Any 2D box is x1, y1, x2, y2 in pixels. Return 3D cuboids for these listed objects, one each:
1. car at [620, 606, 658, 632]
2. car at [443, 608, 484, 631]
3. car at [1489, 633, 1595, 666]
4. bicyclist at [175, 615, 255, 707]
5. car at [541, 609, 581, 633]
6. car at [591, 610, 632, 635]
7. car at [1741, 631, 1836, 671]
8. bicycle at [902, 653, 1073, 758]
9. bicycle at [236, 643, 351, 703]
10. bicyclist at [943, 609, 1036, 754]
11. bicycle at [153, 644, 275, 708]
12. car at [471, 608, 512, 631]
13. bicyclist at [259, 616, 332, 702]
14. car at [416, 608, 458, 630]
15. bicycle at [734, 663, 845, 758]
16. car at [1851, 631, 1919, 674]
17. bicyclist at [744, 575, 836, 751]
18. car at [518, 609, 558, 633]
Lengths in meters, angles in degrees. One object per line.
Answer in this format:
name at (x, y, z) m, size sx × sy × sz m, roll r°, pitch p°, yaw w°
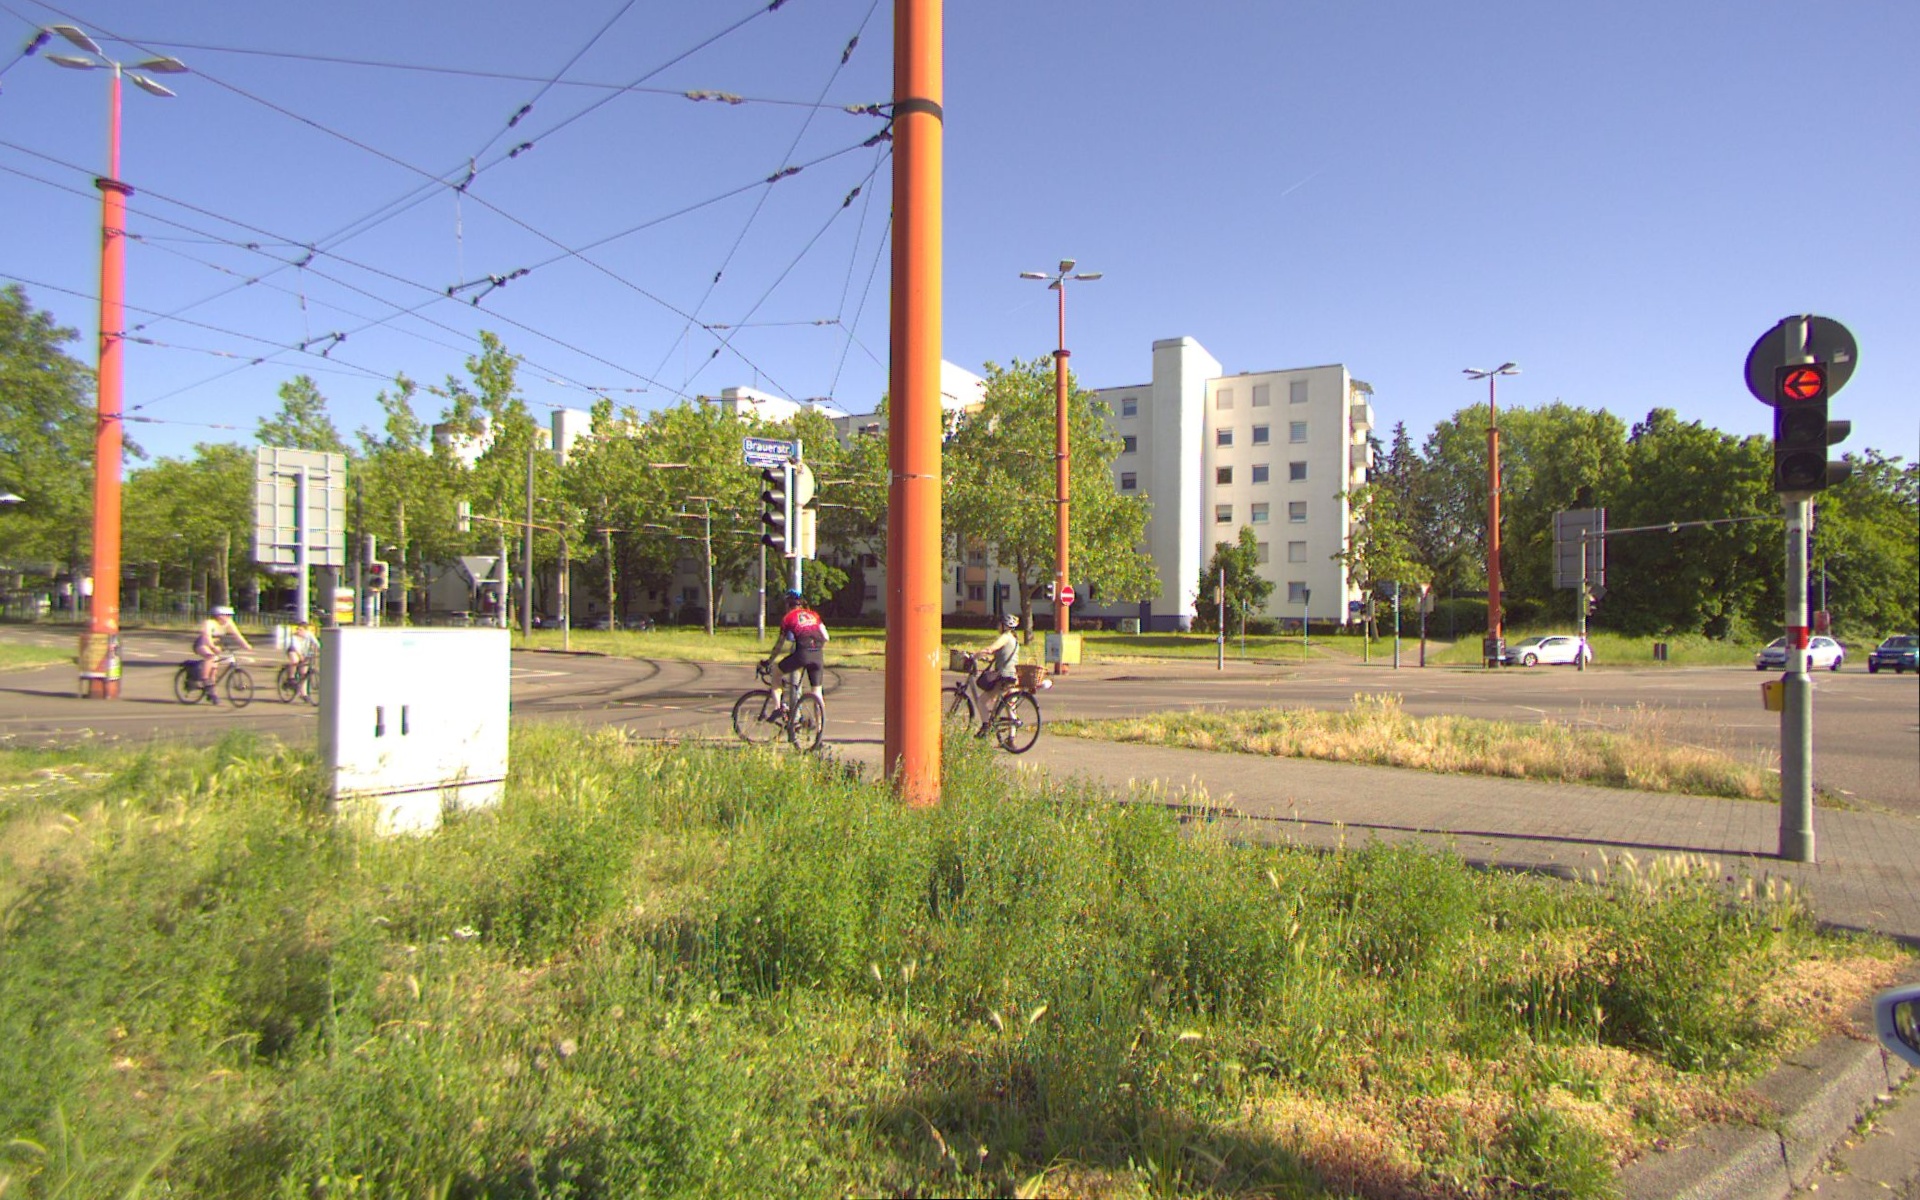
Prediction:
car at (-23.397, 1.387, 73.419) m, size 1.963 × 1.840 × 3.995 m, roll 1°, pitch -1°, yaw -8°
car at (-42.667, 1.684, 86.450) m, size 1.963 × 1.840 × 3.995 m, roll 1°, pitch -1°, yaw -8°
car at (27.290, 2.299, 47.166) m, size 4.145 × 1.471 × 1.796 m, roll 1°, pitch -1°, yaw -10°
bicyclist at (-13.996, 1.126, 18.899) m, size 0.726 × 1.659 × 0.934 m, roll 0°, pitch -1°, yaw 18°
car at (-31.186, 1.662, 78.680) m, size 1.963 × 1.840 × 3.995 m, roll 1°, pitch -1°, yaw -8°
car at (-26.103, 1.674, 75.331) m, size 1.962 × 1.840 × 3.997 m, roll 1°, pitch -1°, yaw -5°
car at (35.150, 2.145, 42.608) m, size 4.075 × 1.594 × 1.983 m, roll 1°, pitch -1°, yaw -32°
bicycle at (0.321, 1.221, 12.123) m, size 1.855 × 1.102 × 0.925 m, roll 0°, pitch -1°, yaw 34°
bicycle at (-13.245, 1.435, 19.982) m, size 1.849 × 1.102 × 0.928 m, roll 0°, pitch -1°, yaw 18°
bicyclist at (0.365, 0.951, 12.099) m, size 0.728 × 1.659 × 0.931 m, roll 0°, pitch -1°, yaw 35°
bicycle at (-14.022, 1.405, 18.898) m, size 1.849 × 1.102 × 0.928 m, roll 0°, pitch -1°, yaw 18°
car at (-39.278, 1.627, 84.328) m, size 1.963 × 1.840 × 3.995 m, roll 1°, pitch -1°, yaw -8°
bicyclist at (-13.205, 1.155, 19.970) m, size 0.726 × 1.659 × 0.934 m, roll 0°, pitch -1°, yaw 18°
car at (-46.016, 1.660, 88.479) m, size 1.963 × 1.840 × 3.995 m, roll 1°, pitch -1°, yaw -8°
bicycle at (-2.109, 1.301, 12.238) m, size 0.915 × 0.976 × 1.747 m, roll 1°, pitch -1°, yaw -24°
car at (37.274, 2.033, 39.867) m, size 4.079 × 1.594 × 1.981 m, roll 2°, pitch -1°, yaw -35°
bicyclist at (-2.060, 0.742, 12.141) m, size 0.921 × 2.040 × 0.736 m, roll 1°, pitch -1°, yaw -25°
car at (-33.802, 1.657, 80.530) m, size 1.963 × 1.840 × 3.995 m, roll 1°, pitch -1°, yaw -8°
